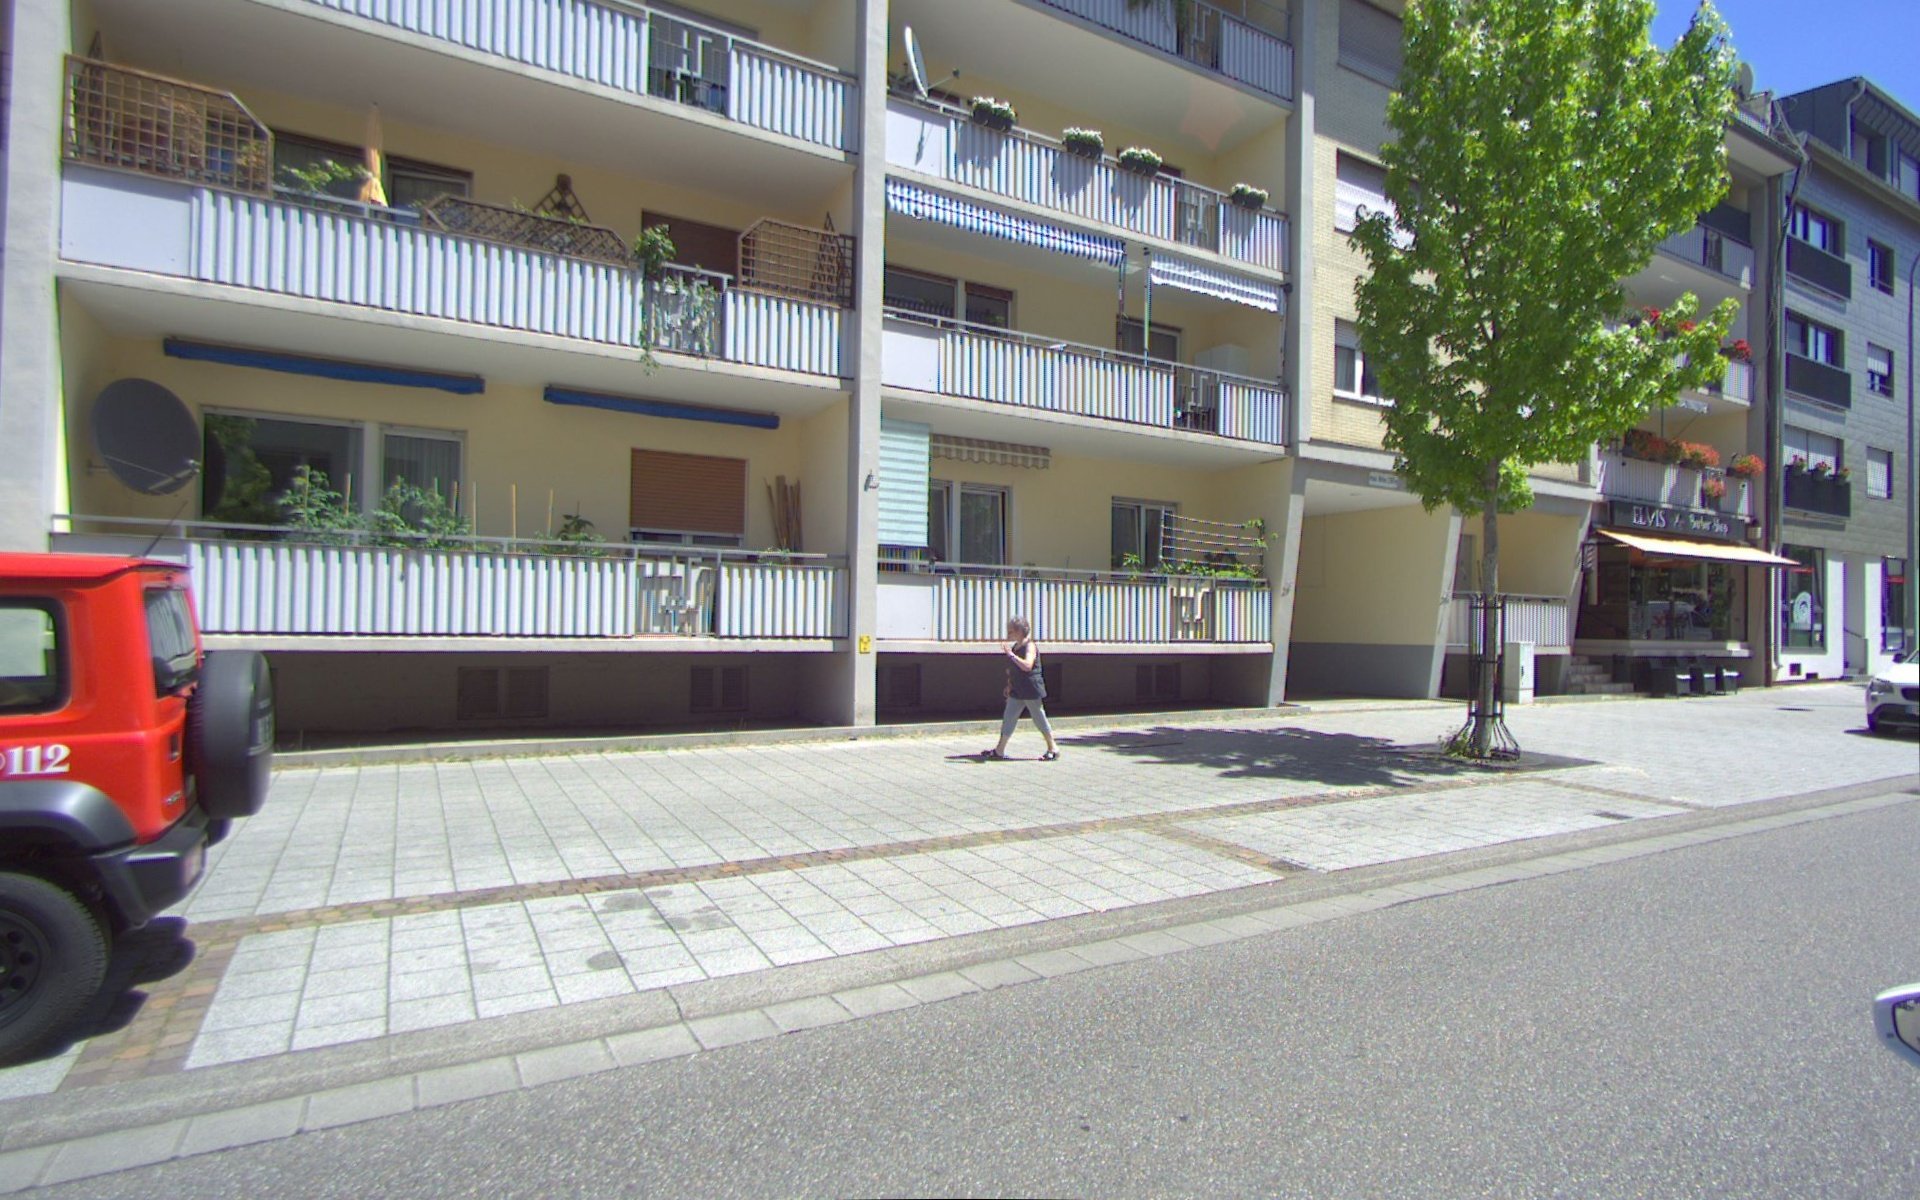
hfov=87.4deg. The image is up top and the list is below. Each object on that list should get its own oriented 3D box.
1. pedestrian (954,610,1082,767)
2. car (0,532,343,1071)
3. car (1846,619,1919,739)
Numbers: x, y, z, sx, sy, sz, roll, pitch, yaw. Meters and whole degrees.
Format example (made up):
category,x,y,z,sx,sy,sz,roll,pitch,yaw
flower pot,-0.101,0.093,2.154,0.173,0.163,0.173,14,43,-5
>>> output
category,x,y,z,sx,sy,sz,roll,pitch,yaw
pedestrian,0.598,0.875,10.401,1.084,1.512,0.694,1,1,-30
car,-4.497,0.605,3.365,4.054,1.725,1.744,1,0,-31
car,15.349,1.169,15.053,4.347,1.640,1.745,1,0,-29
